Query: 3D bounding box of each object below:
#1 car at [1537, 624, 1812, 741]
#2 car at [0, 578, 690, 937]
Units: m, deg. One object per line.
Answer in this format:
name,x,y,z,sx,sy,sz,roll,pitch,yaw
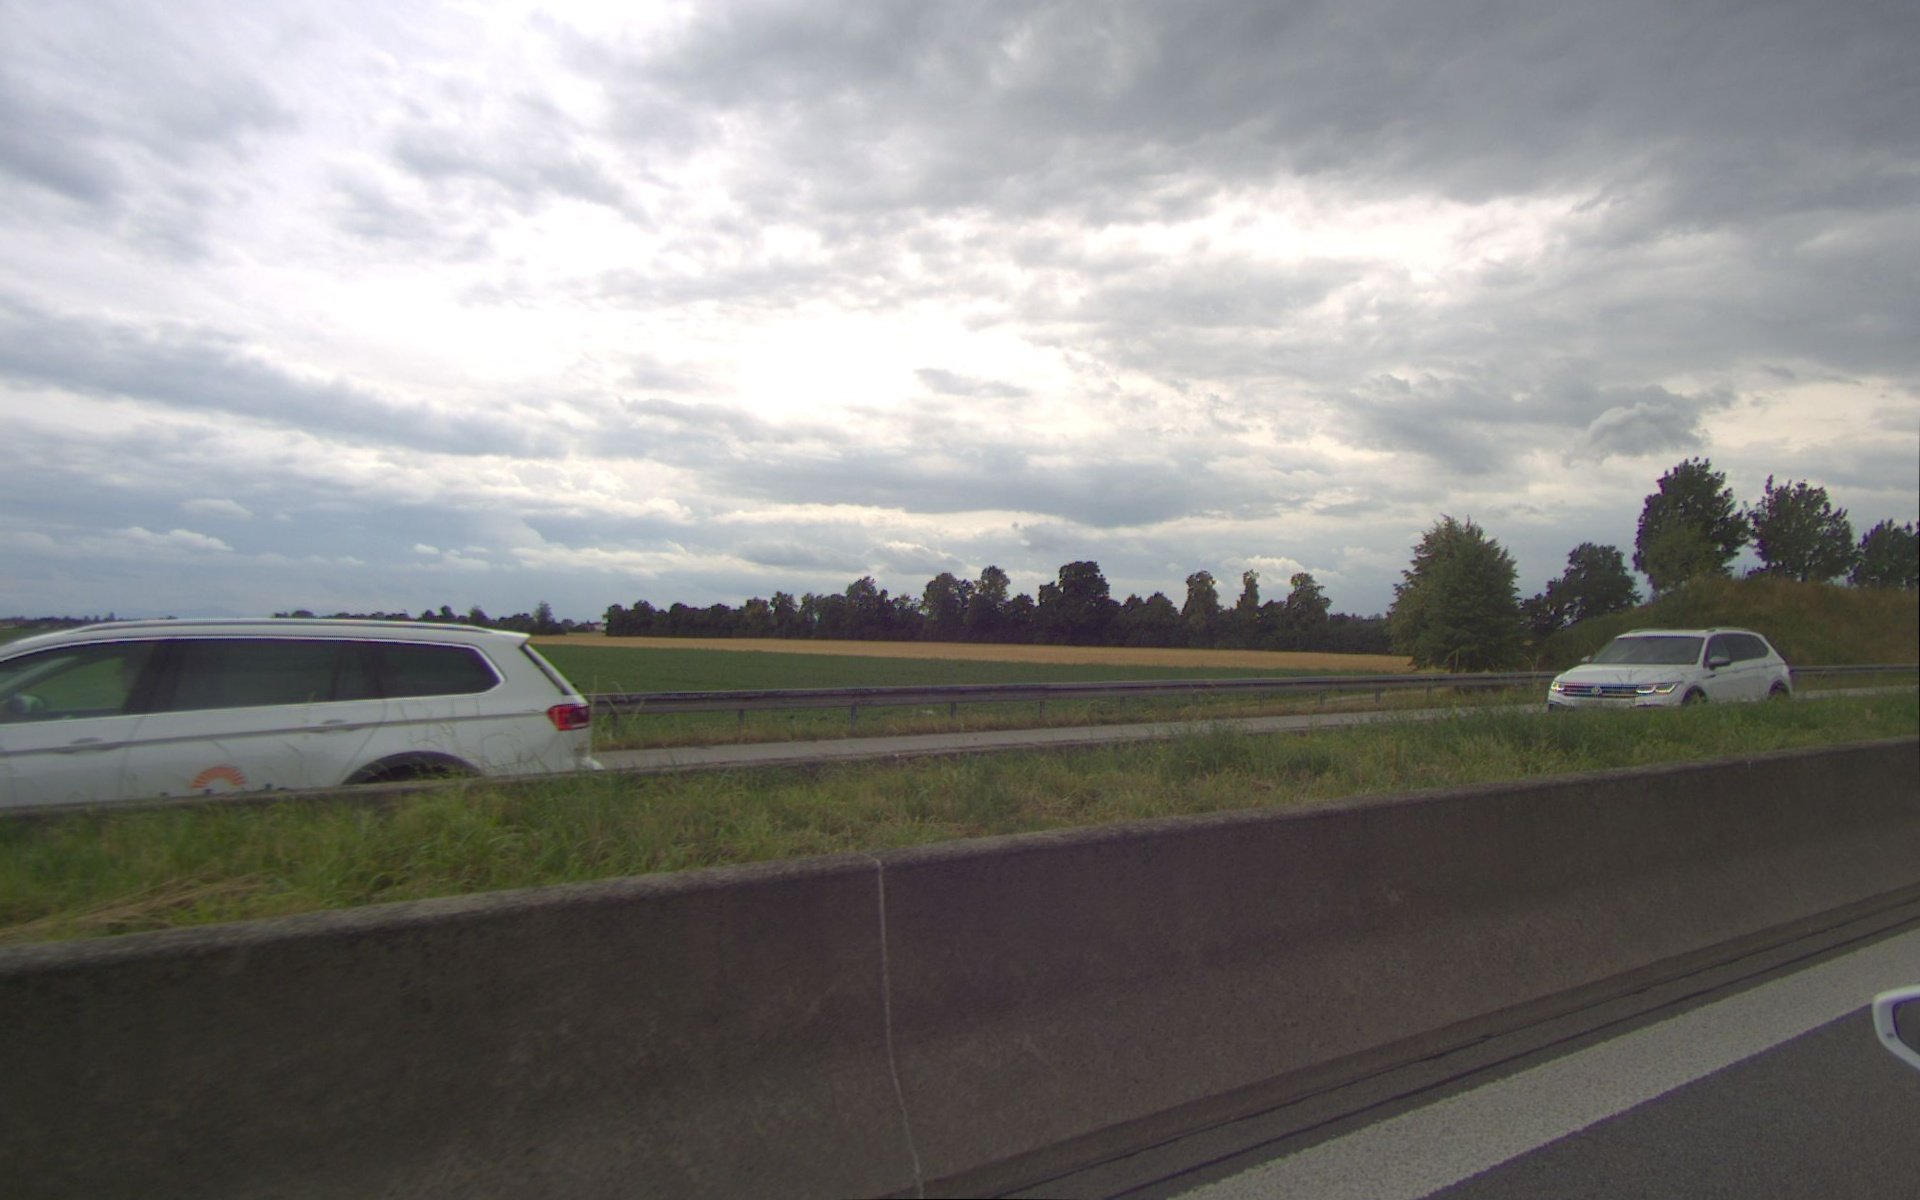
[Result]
car,11.305,1.221,15.820,4.641,1.595,1.856,1,-3,-31
car,-4.214,0.748,5.601,4.932,1.595,1.857,1,-3,-31
